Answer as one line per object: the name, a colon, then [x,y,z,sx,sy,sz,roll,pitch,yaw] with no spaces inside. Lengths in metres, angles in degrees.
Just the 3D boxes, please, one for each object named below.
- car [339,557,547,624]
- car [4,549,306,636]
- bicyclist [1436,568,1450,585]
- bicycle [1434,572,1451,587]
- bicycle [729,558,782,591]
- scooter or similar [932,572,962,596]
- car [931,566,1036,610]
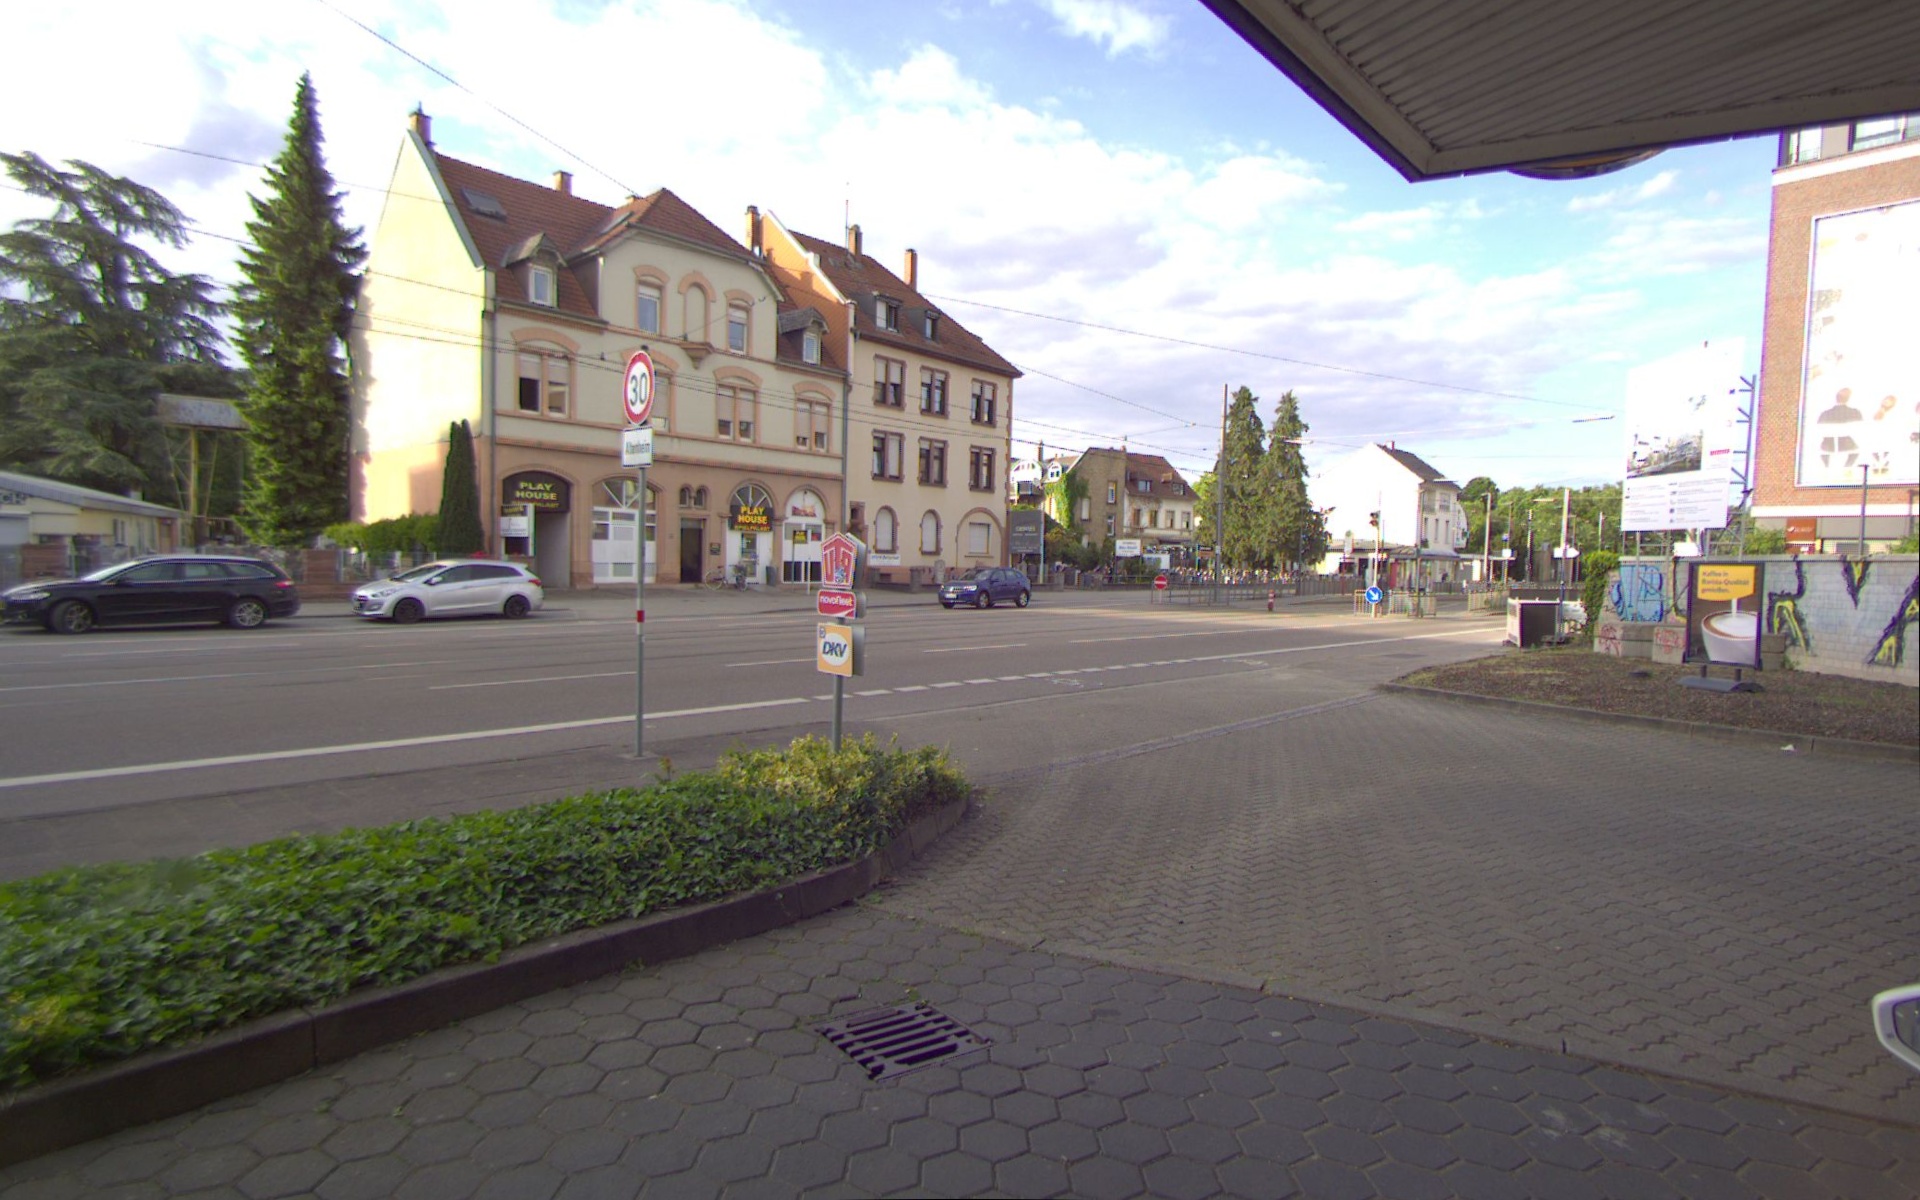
car: [-12.936,-0.255,25.339,1.718,1.502,4.357,3,2,41]
car: [-16.494,-0.178,20.801,1.827,1.542,4.642,5,4,40]
bicyclist: [44.528,-2.171,92.594,0.915,1.428,0.742,-1,7,-44]
bicycle: [44.474,-1.888,92.581,1.809,1.219,0.742,-1,8,-45]
bicycle: [-8.255,-1.009,40.610,0.741,1.219,2.011,8,5,41]
scooter or similar: [-0.573,-0.723,45.076,0.437,1.006,1.460,6,5,41]
car: [0.932,-0.460,36.872,1.833,1.489,4.123,3,3,36]
